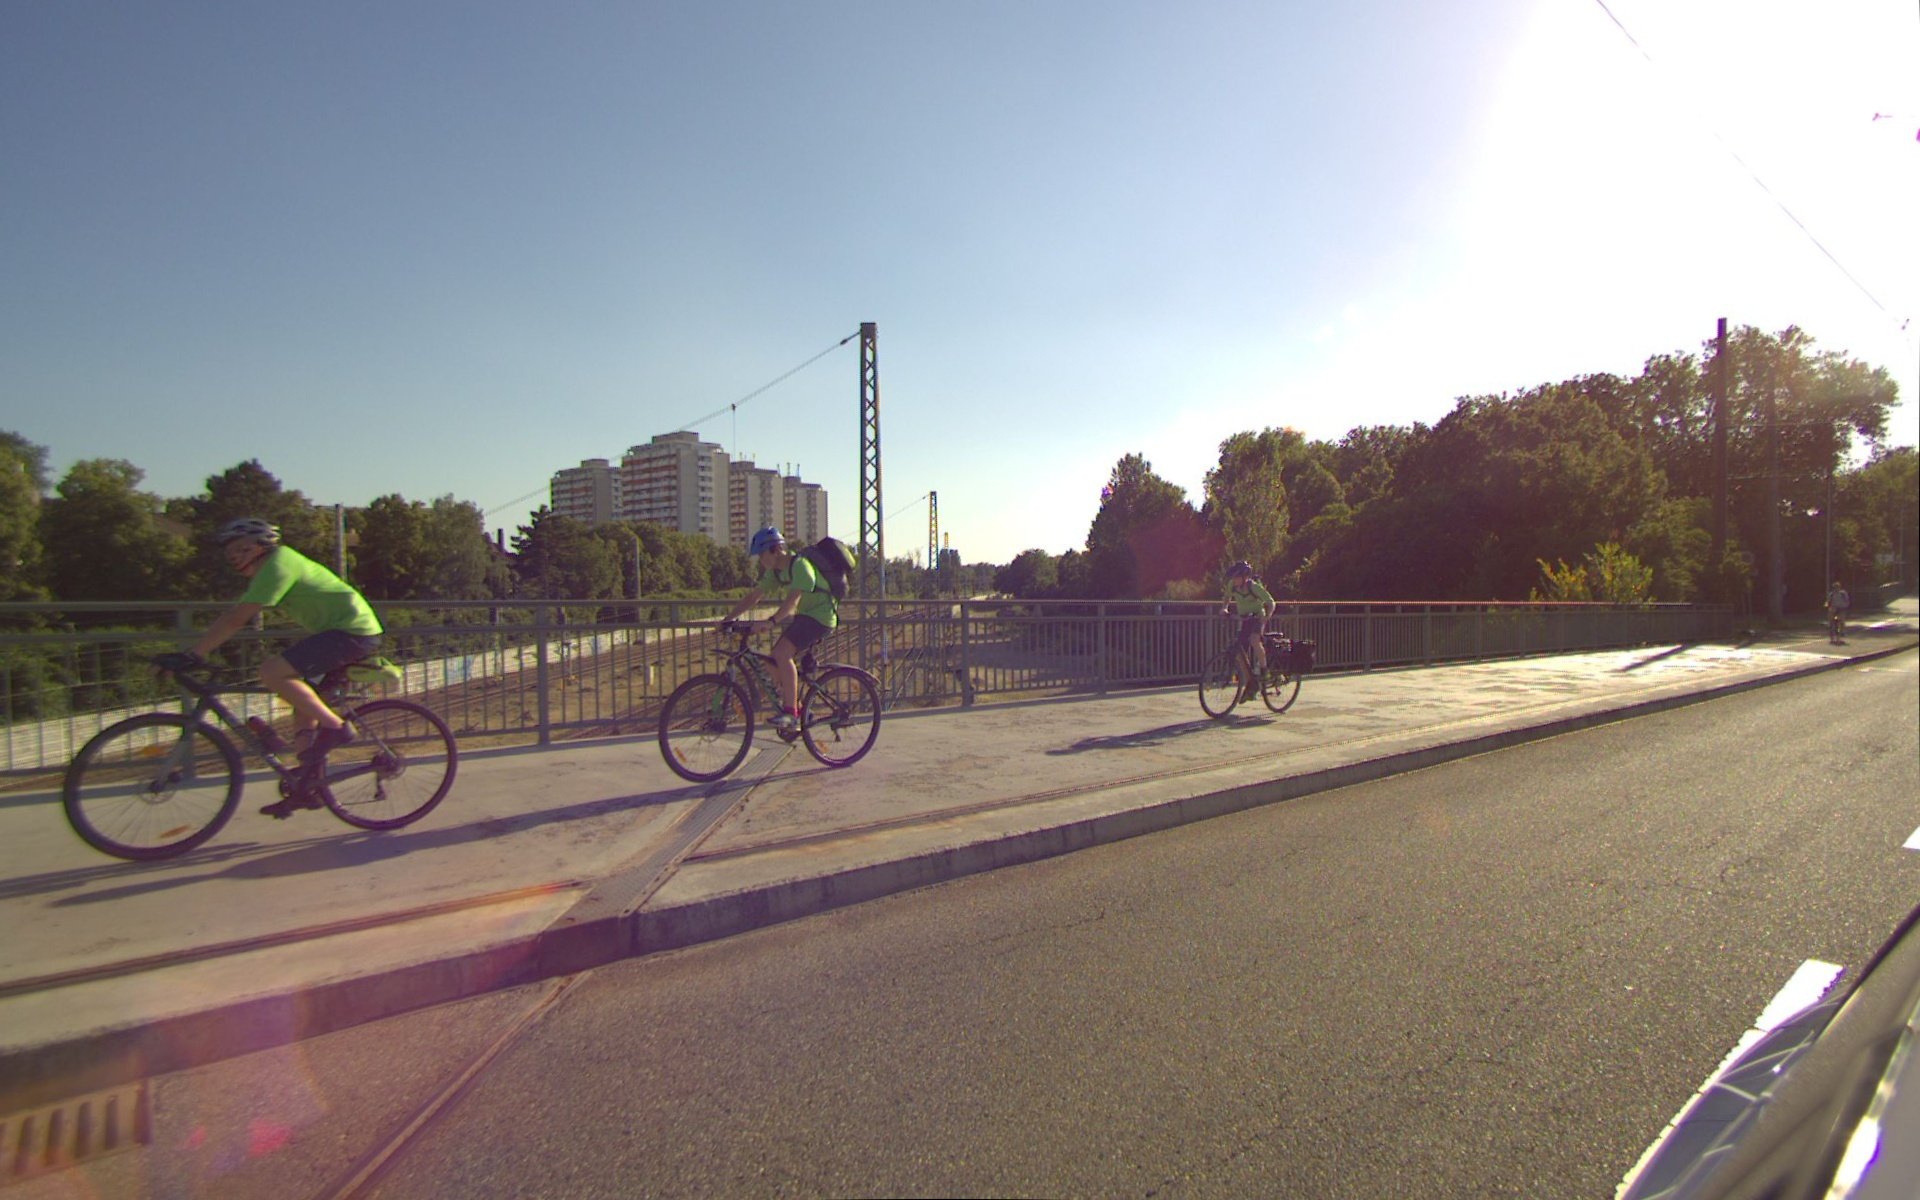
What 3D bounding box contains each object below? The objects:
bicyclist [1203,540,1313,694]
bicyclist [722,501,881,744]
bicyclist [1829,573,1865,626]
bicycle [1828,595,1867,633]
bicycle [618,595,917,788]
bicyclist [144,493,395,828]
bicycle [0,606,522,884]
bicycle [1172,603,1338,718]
[{"bbox_3d":[3.247,0.175,11.038,0.881,1.582,0.813,0,-1,-41],"label":"bicyclist"},{"bbox_3d":[-1.134,0.139,7.253,0.915,1.612,0.626,-1,1,-41],"label":"bicyclist"},{"bbox_3d":[29.316,-0.026,33.460,1.182,1.711,0.731,-1,-2,-44],"label":"bicyclist"},{"bbox_3d":[29.324,0.450,33.420,2.697,1.137,0.731,-1,-2,-44],"label":"bicycle"},{"bbox_3d":[-1.281,0.553,7.071,2.006,1.136,0.626,-2,1,-41],"label":"bicycle"},{"bbox_3d":[-3.526,0.268,5.185,0.988,1.527,0.626,-1,0,-41],"label":"bicyclist"},{"bbox_3d":[-3.506,0.619,5.197,2.221,1.136,0.626,-1,0,-42],"label":"bicycle"},{"bbox_3d":[3.263,0.607,11.060,2.177,1.137,0.684,0,0,-41],"label":"bicycle"}]
